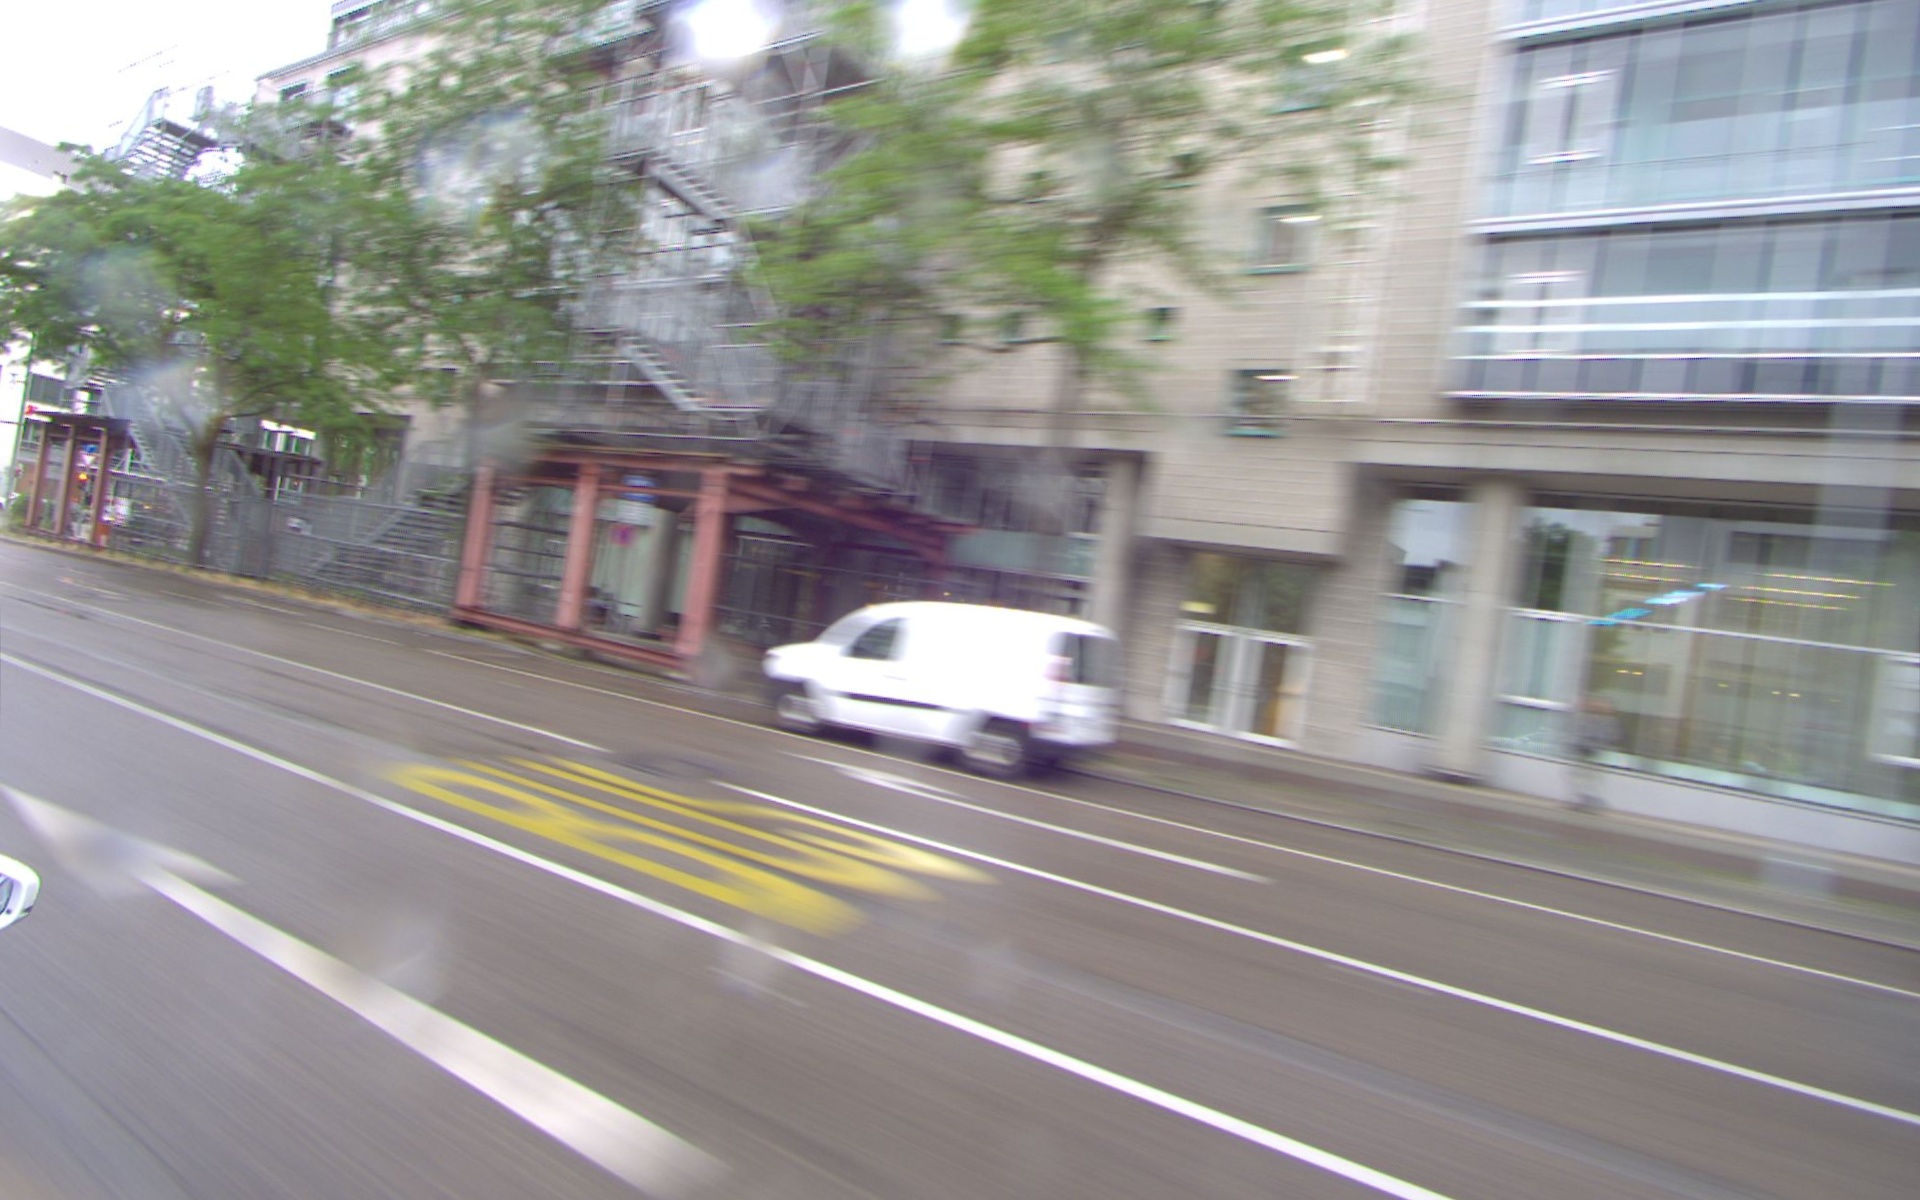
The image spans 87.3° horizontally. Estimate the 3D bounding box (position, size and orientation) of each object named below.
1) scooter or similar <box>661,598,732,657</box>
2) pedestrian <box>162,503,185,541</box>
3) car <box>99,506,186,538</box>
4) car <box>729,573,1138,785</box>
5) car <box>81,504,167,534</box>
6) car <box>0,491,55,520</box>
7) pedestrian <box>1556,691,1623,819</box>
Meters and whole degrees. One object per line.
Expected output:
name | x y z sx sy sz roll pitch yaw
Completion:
scooter or similar | -6.193 0.645 23.625 1.522 1.175 0.632 7 -1 32
pedestrian | -41.204 -4.075 52.684 0.675 1.874 1.047 7 0 -32
car | -57.559 -5.448 70.938 1.691 1.481 4.468 7 -1 19
car | -0.384 0.863 12.247 4.451 1.770 1.997 7 -1 32
car | -60.221 -5.821 72.567 1.690 1.364 4.469 7 -1 17
car | -70.023 -7.080 74.162 1.962 1.616 4.469 7 -1 17
pedestrian | 9.305 2.266 14.862 0.642 1.763 0.676 7 0 34
